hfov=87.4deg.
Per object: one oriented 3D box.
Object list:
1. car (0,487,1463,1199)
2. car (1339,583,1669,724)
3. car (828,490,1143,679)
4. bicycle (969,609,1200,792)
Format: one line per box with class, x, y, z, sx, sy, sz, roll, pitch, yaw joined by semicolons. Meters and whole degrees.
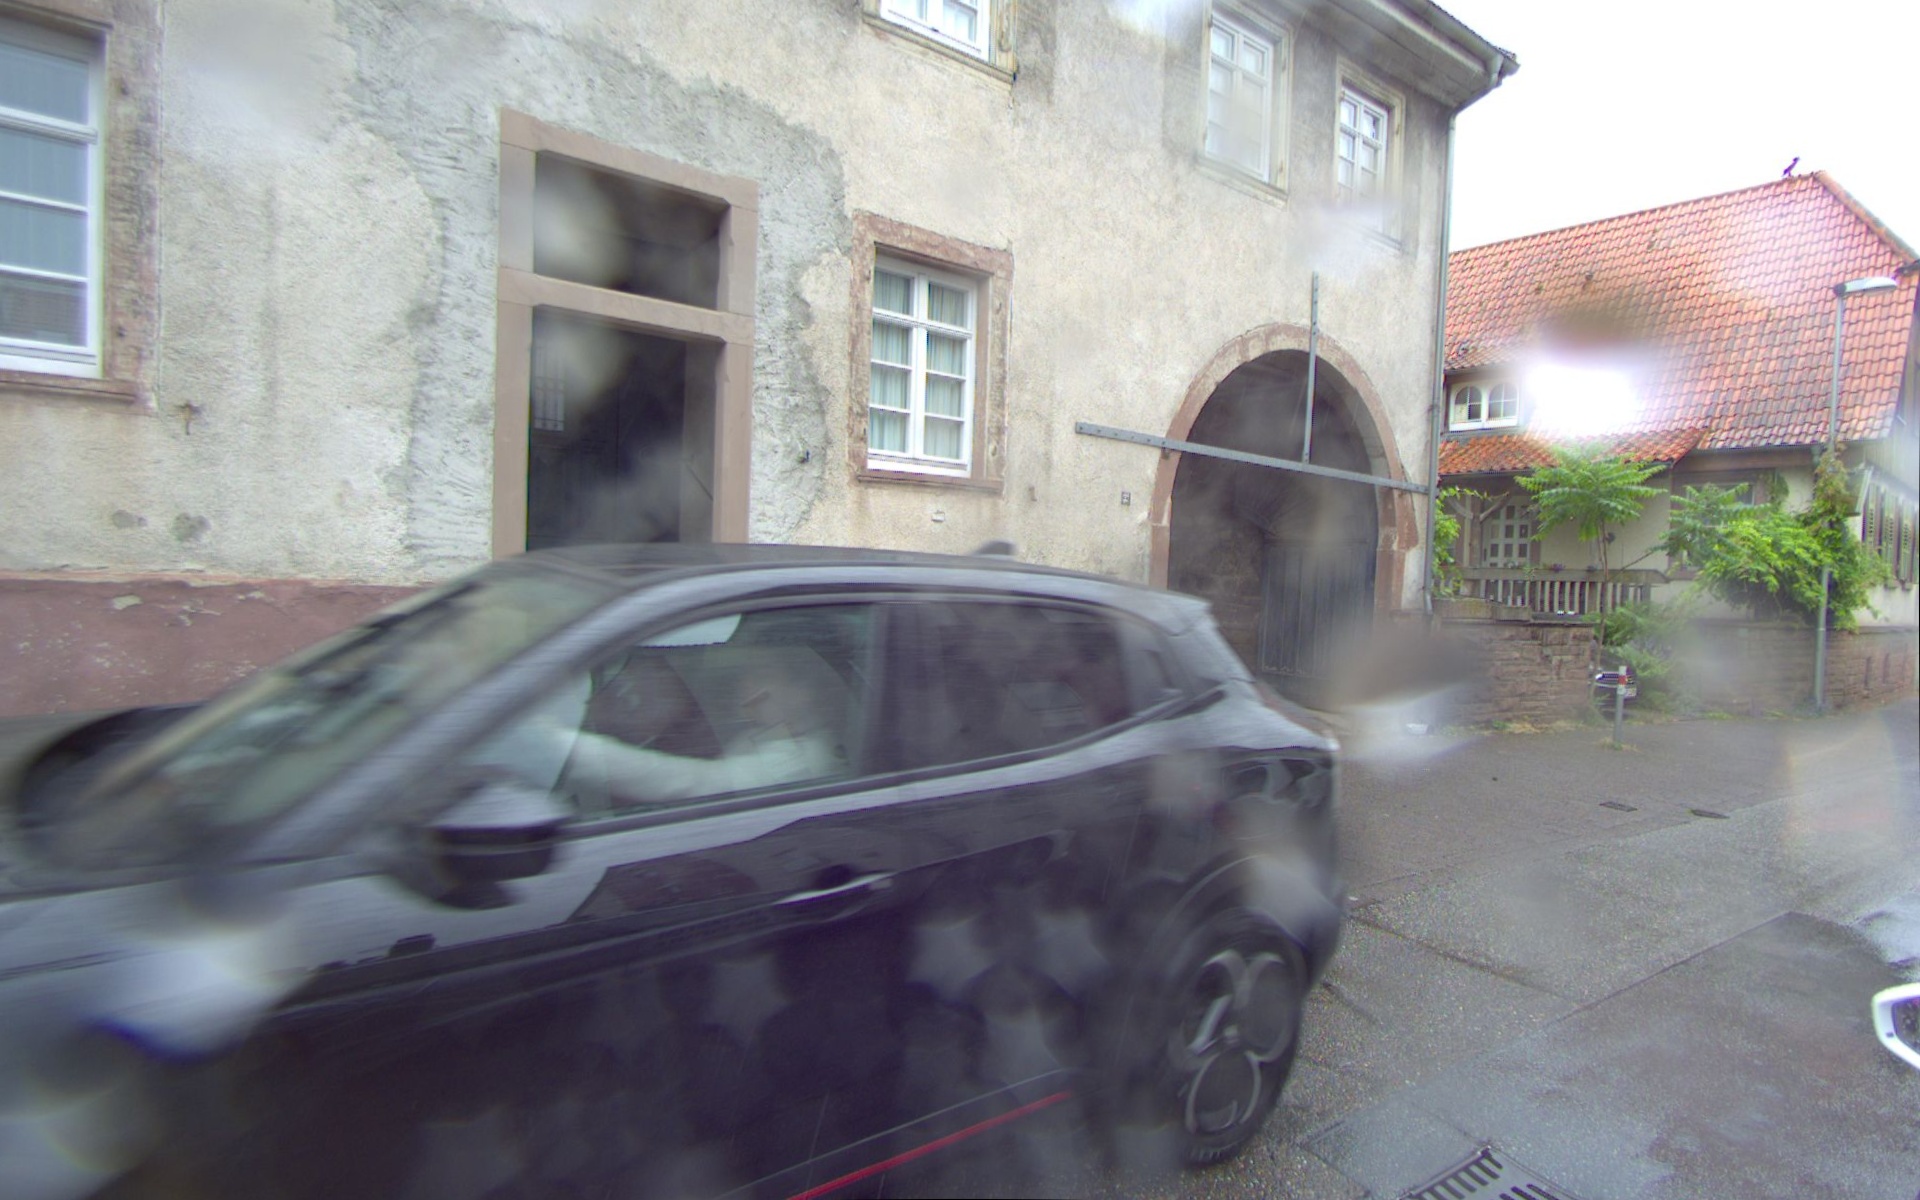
car;-0.588;0.620;2.442;3.757;1.531;1.611;2;4;-36
car;7.991;0.698;15.158;1.715;1.444;3.967;2;5;-30
car;0.162;-0.309;13.521;1.869;1.957;4.194;6;3;-37
bicycle;0.963;0.685;7.447;1.858;1.194;0.478;1;4;-38
